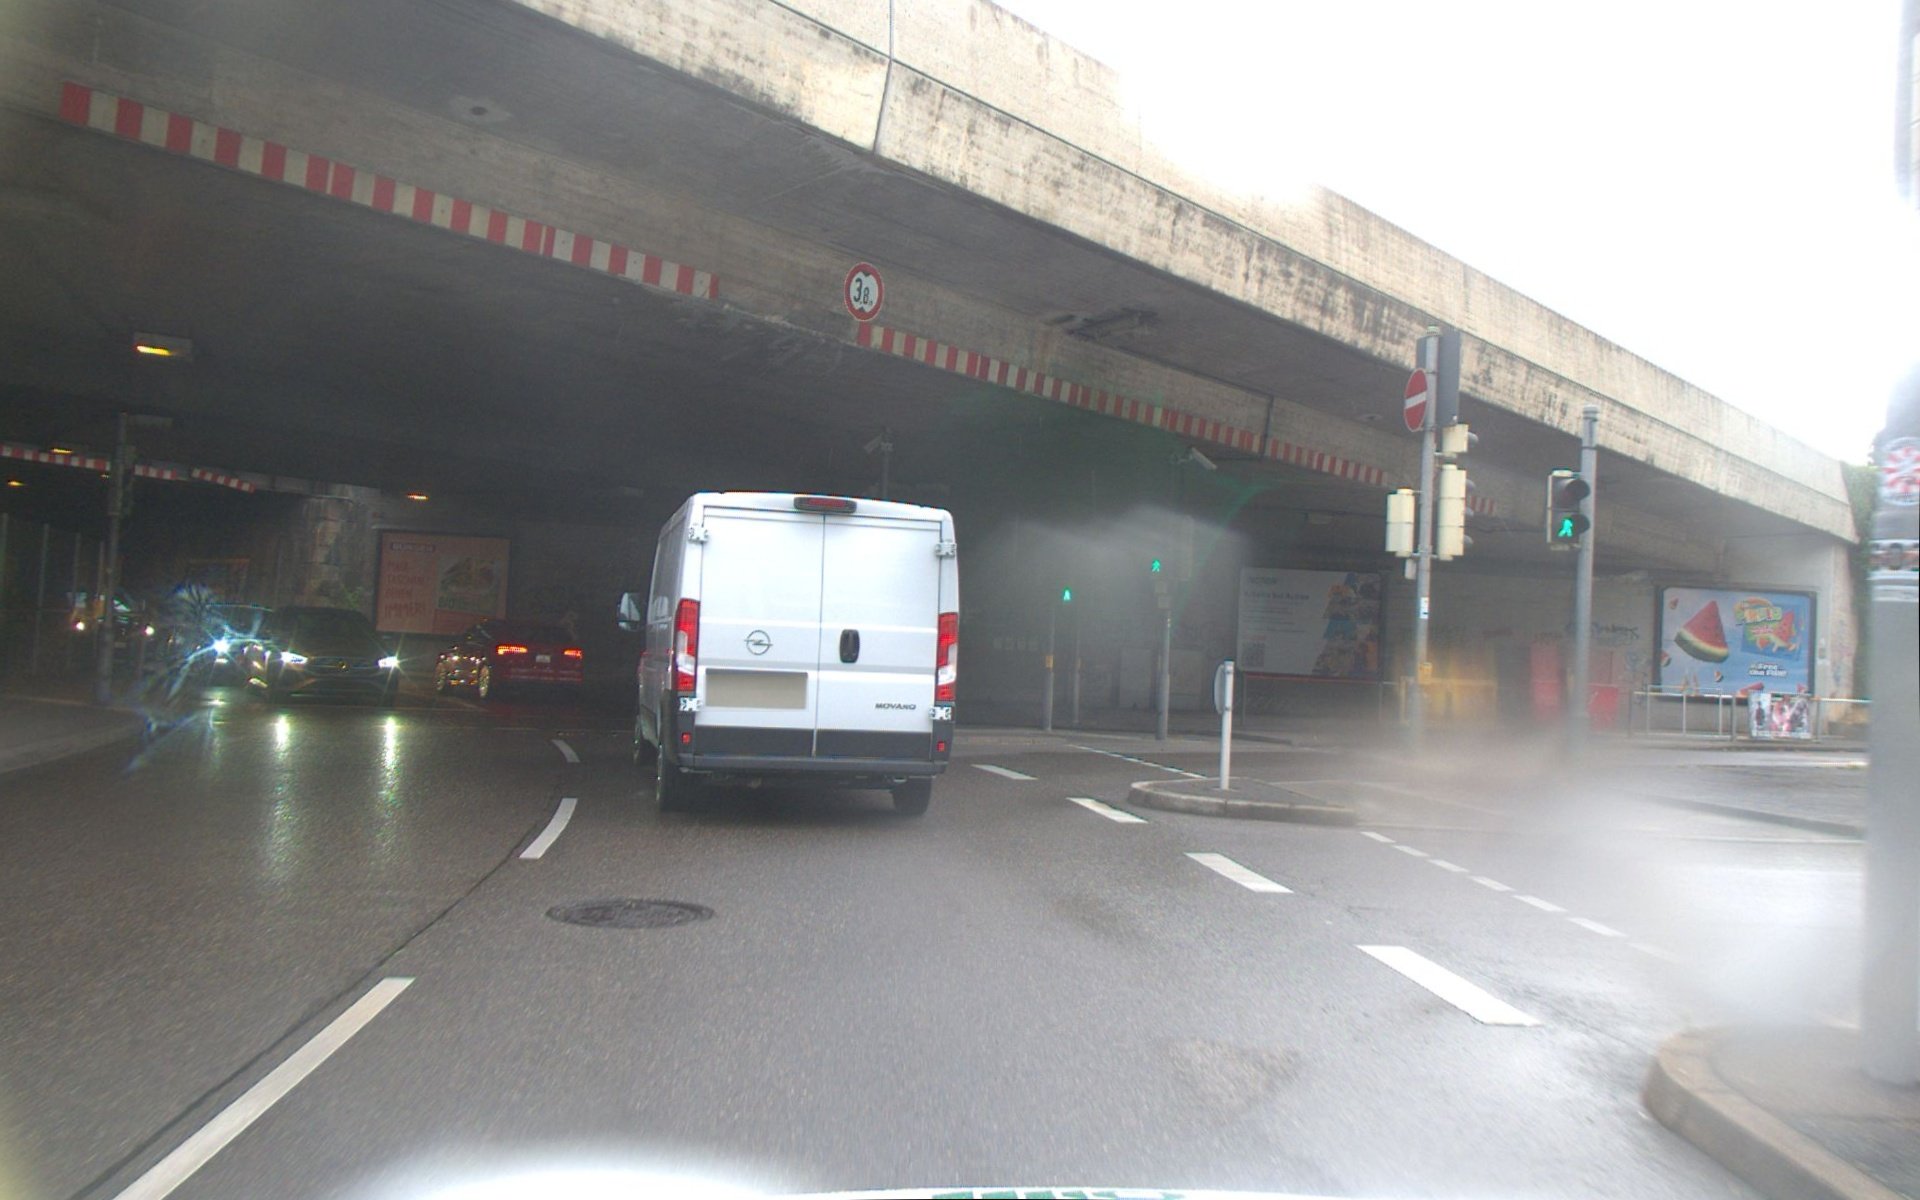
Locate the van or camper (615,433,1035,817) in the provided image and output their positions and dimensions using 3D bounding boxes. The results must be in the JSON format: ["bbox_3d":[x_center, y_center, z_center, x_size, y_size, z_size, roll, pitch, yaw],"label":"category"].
[{"bbox_3d":[-1.363,0.162,13.515,2.652,2.458,4.887,3,0,-13],"label":"van or camper"}]

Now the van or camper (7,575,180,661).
[{"bbox_3d":[-20.787,0.411,39.598,5.047,1.901,1.988,1,-2,42],"label":"van or camper"}]

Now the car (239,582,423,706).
[{"bbox_3d":[-9.825,0.624,25.611,1.972,1.556,4.457,3,1,-29],"label":"car"}]

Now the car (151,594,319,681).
[{"bbox_3d":[-13.675,0.680,31.084,1.978,1.490,4.051,3,-2,-37],"label":"car"}]

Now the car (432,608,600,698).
[{"bbox_3d":[-8.229,0.937,30.437,1.819,1.463,4.057,4,-2,-32],"label":"car"}]
